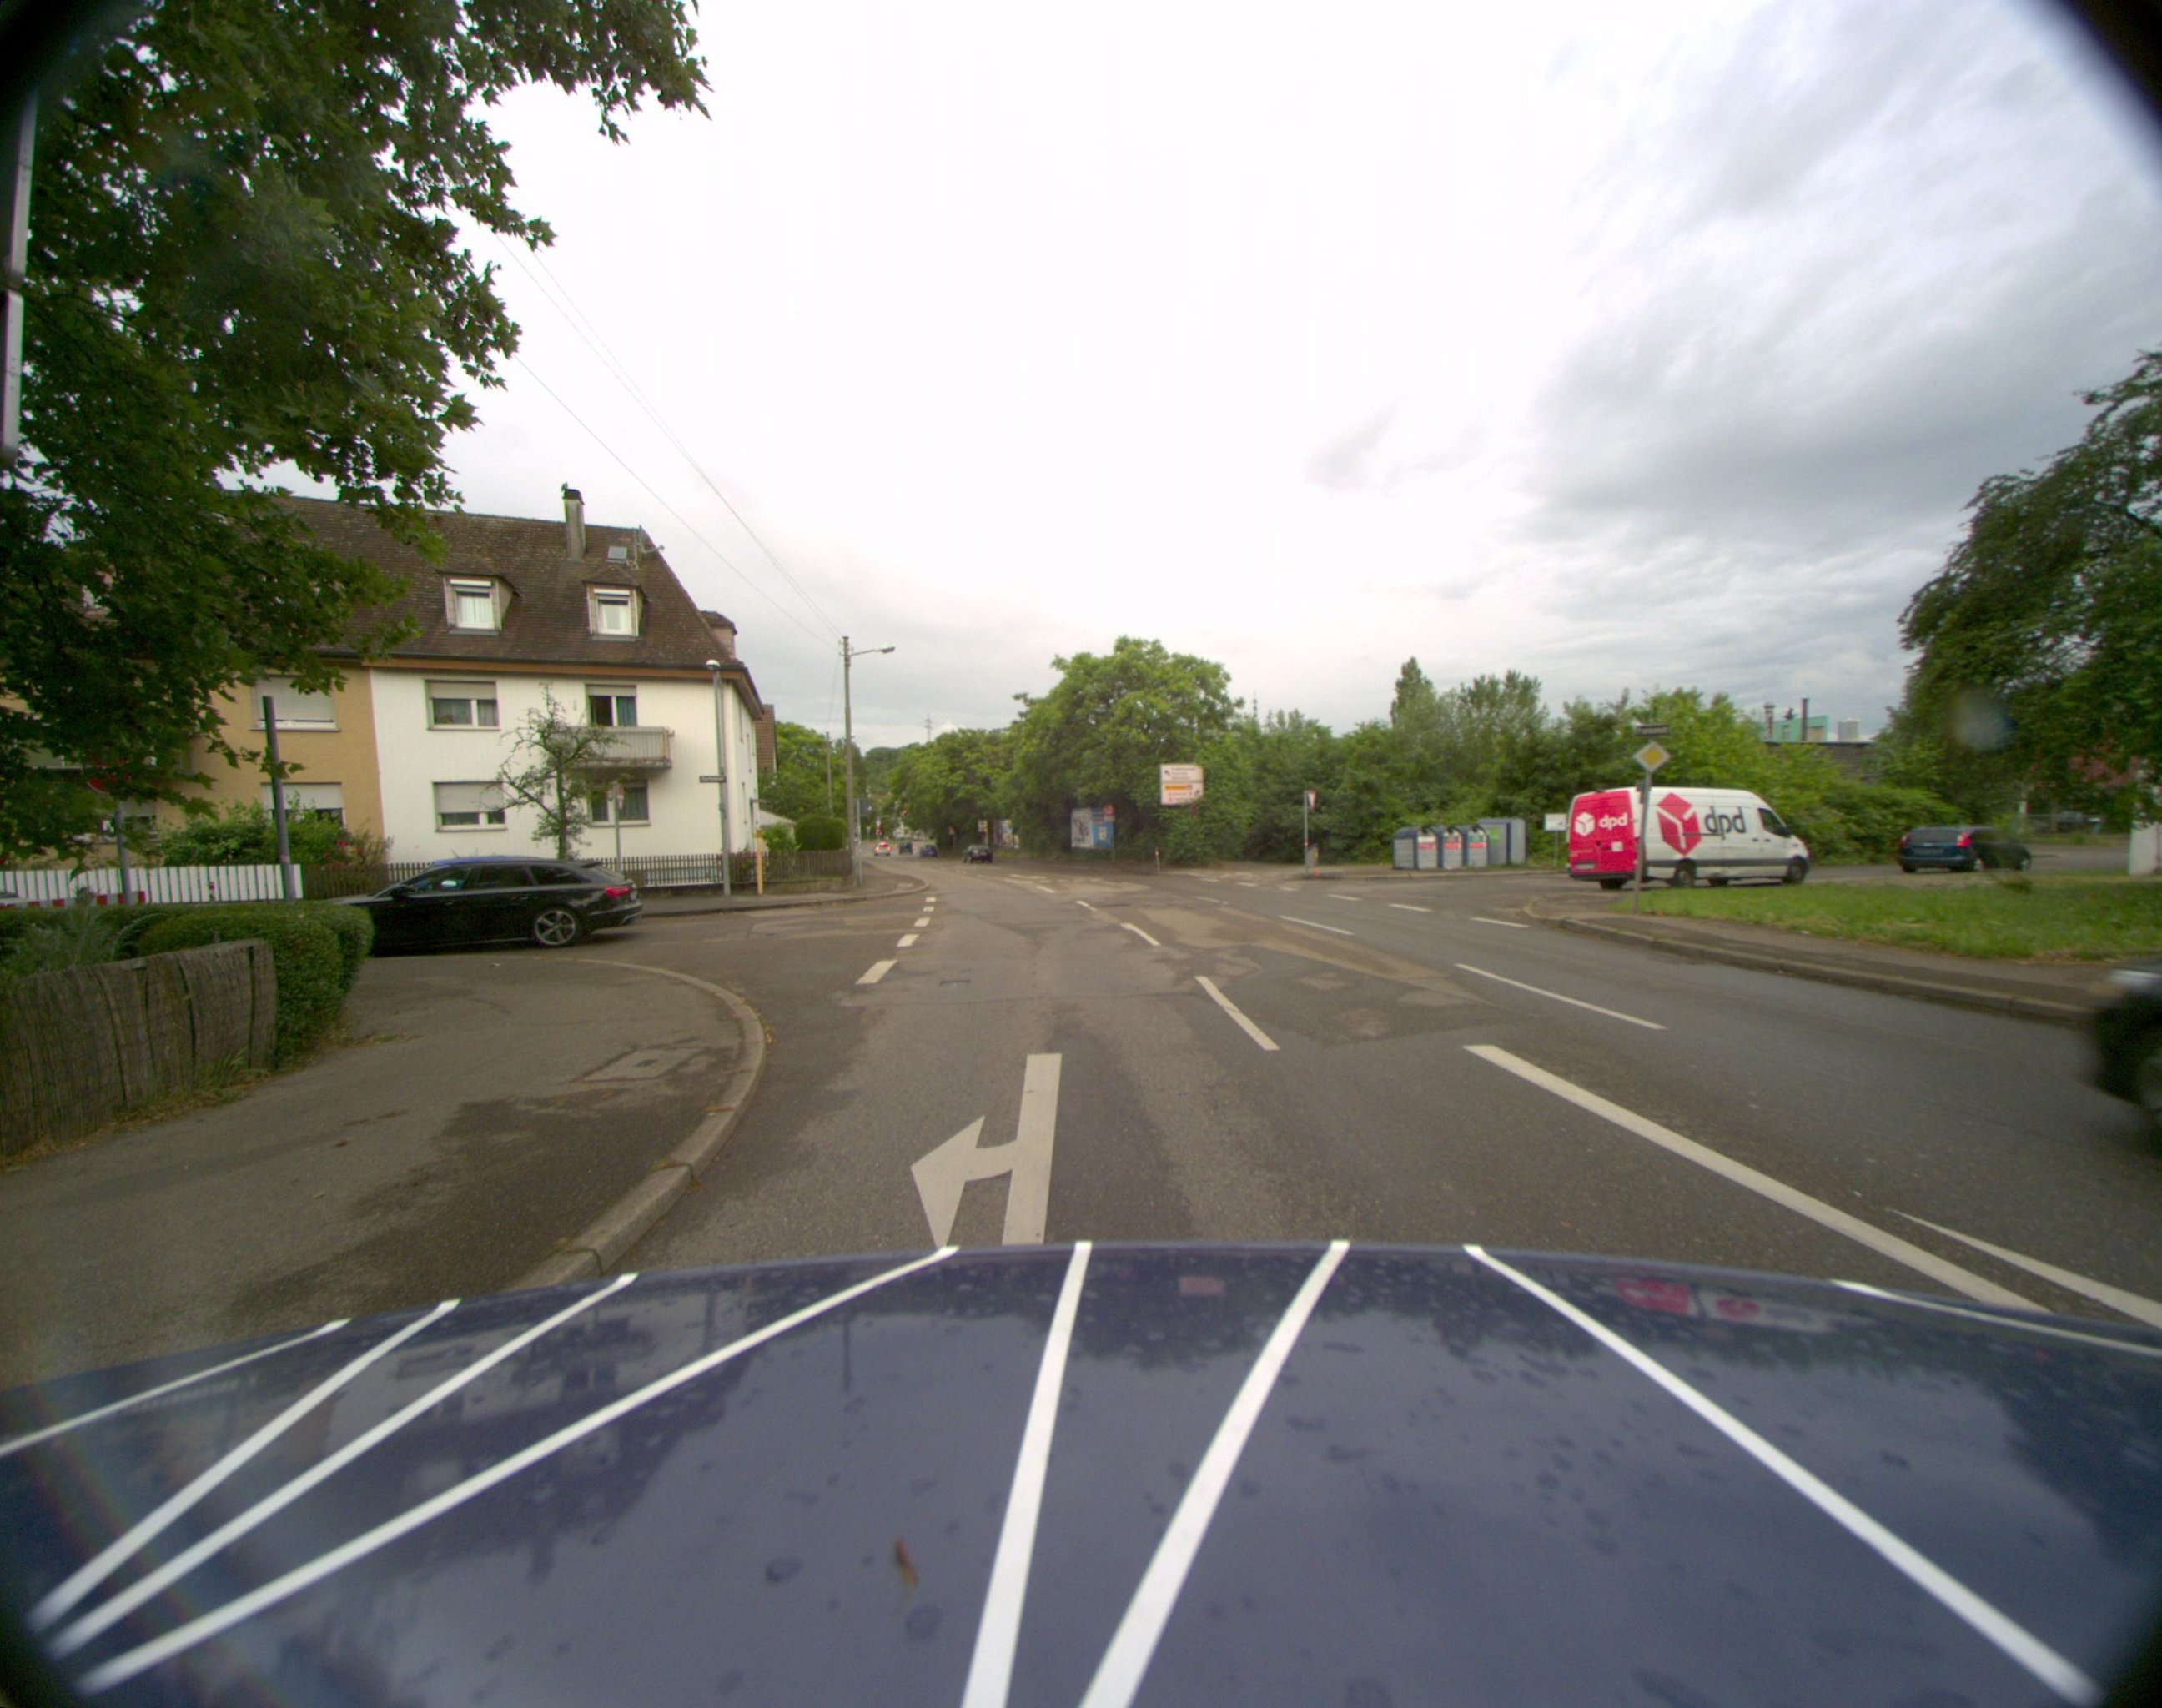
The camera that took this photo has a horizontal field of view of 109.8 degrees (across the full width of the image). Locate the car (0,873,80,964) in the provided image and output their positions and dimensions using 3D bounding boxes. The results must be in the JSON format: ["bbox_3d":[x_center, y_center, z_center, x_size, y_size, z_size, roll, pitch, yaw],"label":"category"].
[{"bbox_3d":[-19.480,1.118,12.147,3.788,1.445,1.769,-2,1,-20],"label":"car"}]

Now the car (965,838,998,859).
[{"bbox_3d":[-7.942,-0.417,60.214,1.849,1.560,4.405,-2,1,-17],"label":"car"}]

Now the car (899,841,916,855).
[{"bbox_3d":[-24.894,-0.842,108.817,1.965,1.920,4.675,-2,1,-17],"label":"car"}]

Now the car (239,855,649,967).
[{"bbox_3d":[-10.064,0.810,12.603,4.824,1.472,1.882,-1,1,-24],"label":"car"}]

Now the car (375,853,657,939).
[{"bbox_3d":[-11.131,0.758,15.341,4.130,1.472,1.883,-1,1,-17],"label":"car"}]

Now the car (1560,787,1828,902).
[{"bbox_3d":[16.156,-0.353,20.022,6.829,2.641,2.258,-2,2,-20],"label":"car"}]

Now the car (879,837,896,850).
[{"bbox_3d":[-25.493,-1.396,100.013,1.838,1.570,4.325,-3,2,-18],"label":"car"}]

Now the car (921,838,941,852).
[{"bbox_3d":[-16.583,-0.993,83.824,1.604,1.418,3.689,-2,3,-19],"label":"car"}]

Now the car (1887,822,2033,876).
[{"bbox_3d":[30.133,-0.210,26.067,4.257,1.620,1.996,-3,2,-22],"label":"car"}]

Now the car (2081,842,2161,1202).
[{"bbox_3d":[5.838,0.767,1.489,1.919,1.617,4.433,-2,1,0],"label":"car"}]
